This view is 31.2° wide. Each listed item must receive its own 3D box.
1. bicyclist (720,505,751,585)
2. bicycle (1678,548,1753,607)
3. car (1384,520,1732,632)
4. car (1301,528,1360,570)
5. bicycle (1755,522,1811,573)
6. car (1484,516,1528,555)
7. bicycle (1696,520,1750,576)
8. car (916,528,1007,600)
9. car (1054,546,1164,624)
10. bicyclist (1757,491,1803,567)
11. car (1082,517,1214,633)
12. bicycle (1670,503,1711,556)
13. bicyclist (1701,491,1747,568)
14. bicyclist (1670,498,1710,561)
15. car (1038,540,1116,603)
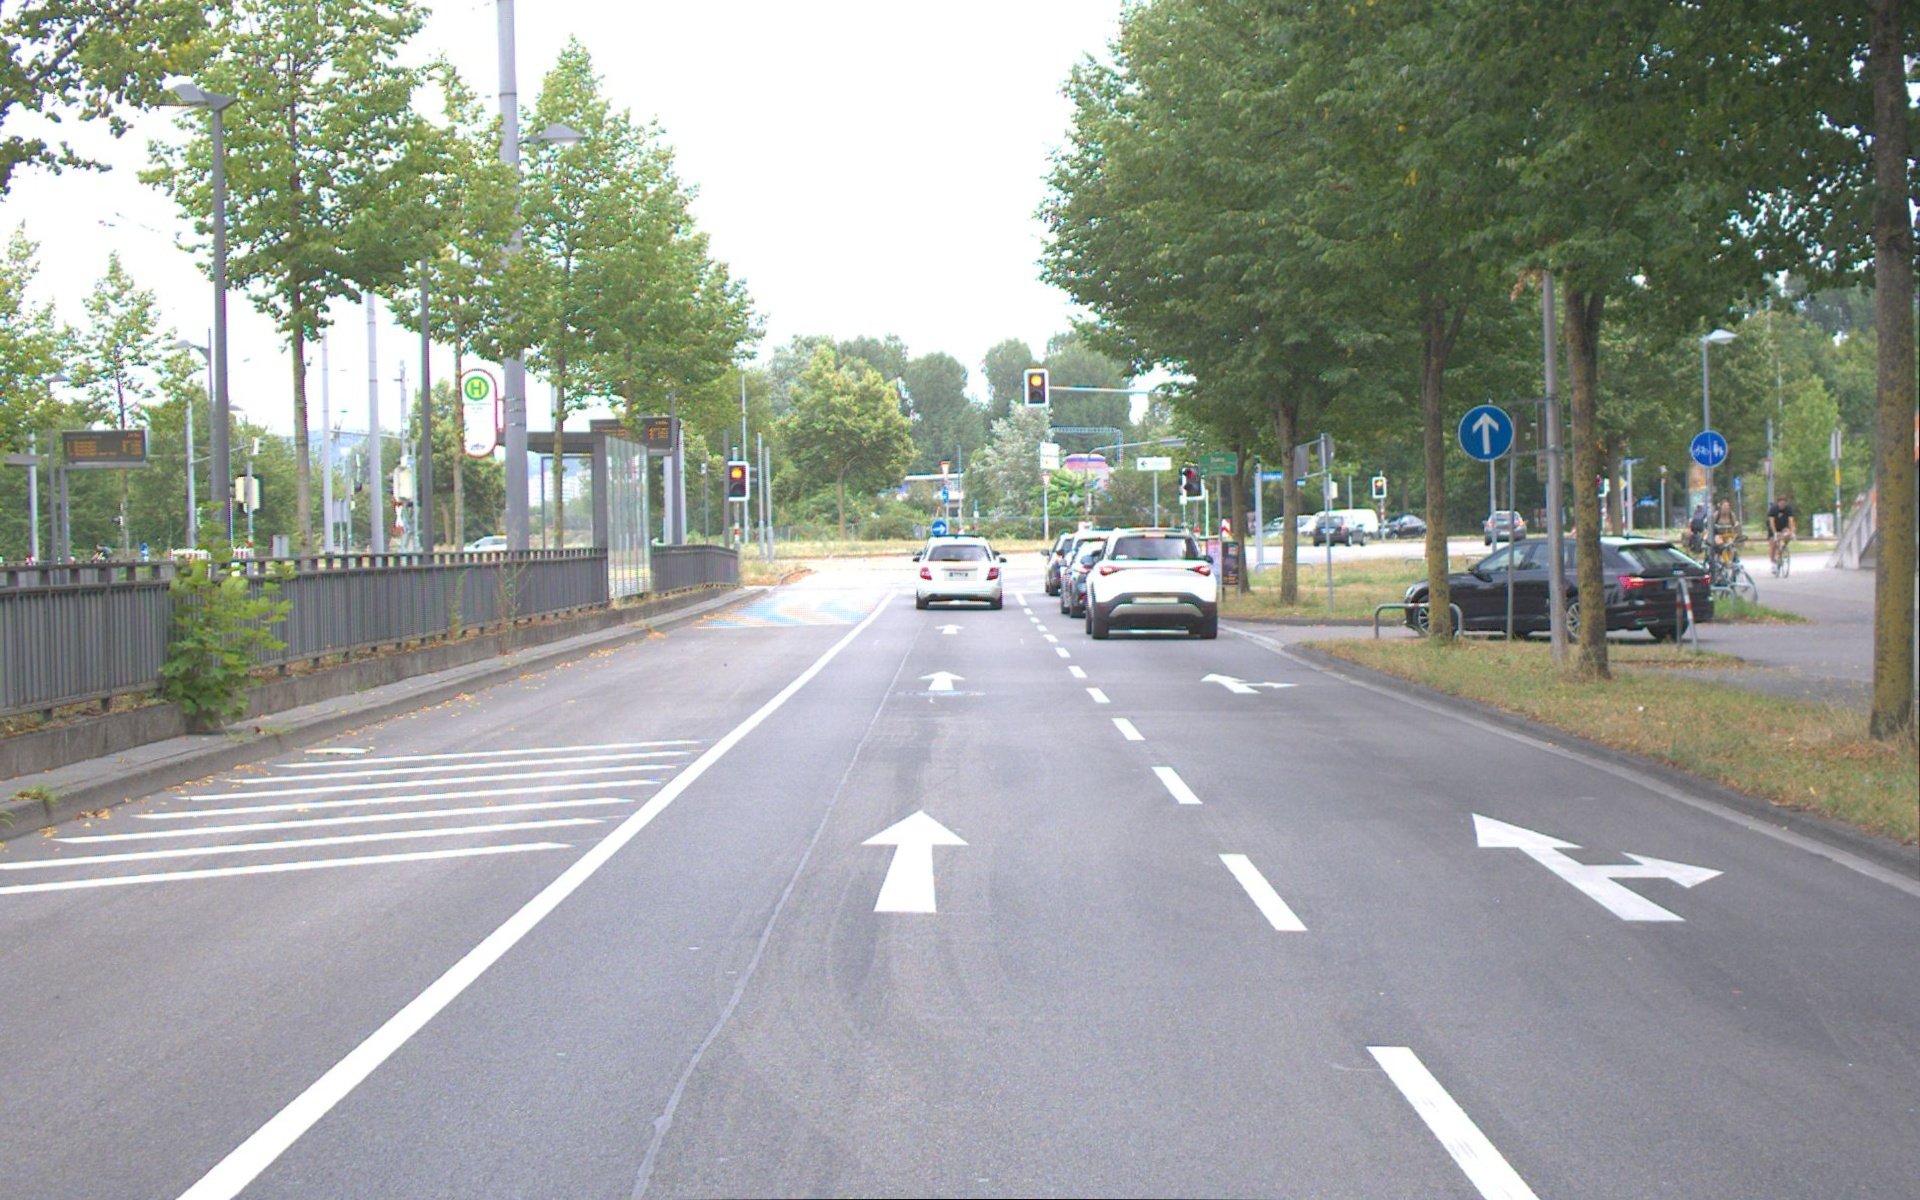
[{"bbox_3d":[-5.600,-1.382,85.793,0.728,1.878,0.735,-1,12,-2],"label":"bicyclist"},{"bbox_3d":[12.516,-0.377,57.009,0.629,0.952,2.108,-1,1,-4],"label":"bicycle"},{"bbox_3d":[8.310,-0.341,48.182,1.941,1.470,4.870,-2,1,-34],"label":"car"},{"bbox_3d":[16.669,-2.287,154.797,1.993,1.785,4.000,1,0,-3],"label":"car"},{"bbox_3d":[17.123,-1.098,71.552,0.673,1.038,2.007,-1,1,0],"label":"bicycle"},{"bbox_3d":[23.759,-2.804,149.562,1.784,1.630,4.400,-1,1,10],"label":"car"},{"bbox_3d":[15.865,-1.088,71.548,0.673,1.139,2.007,-1,1,0],"label":"bicycle"},{"bbox_3d":[0.012,-0.755,70.890,1.773,1.443,3.911,0,1,-1],"label":"car"},{"bbox_3d":[2.826,-0.314,66.122,1.787,1.427,4.311,-1,1,-2],"label":"car"},{"bbox_3d":[17.106,-1.481,71.713,0.724,1.577,0.990,-1,1,0],"label":"bicyclist"},{"bbox_3d":[2.782,-0.396,51.594,1.779,1.651,4.023,-1,1,1],"label":"car"},{"bbox_3d":[21.007,-2.021,98.906,0.705,1.500,2.008,-1,1,-1],"label":"bicycle"},{"bbox_3d":[15.860,-1.460,71.385,0.724,1.577,0.990,-1,1,0],"label":"bicyclist"},{"bbox_3d":[21.005,-2.038,98.904,0.866,1.783,1.175,-1,1,-1],"label":"bicyclist"},{"bbox_3d":[2.774,-0.692,82.021,1.624,1.443,3.911,0,1,-1],"label":"car"}]
